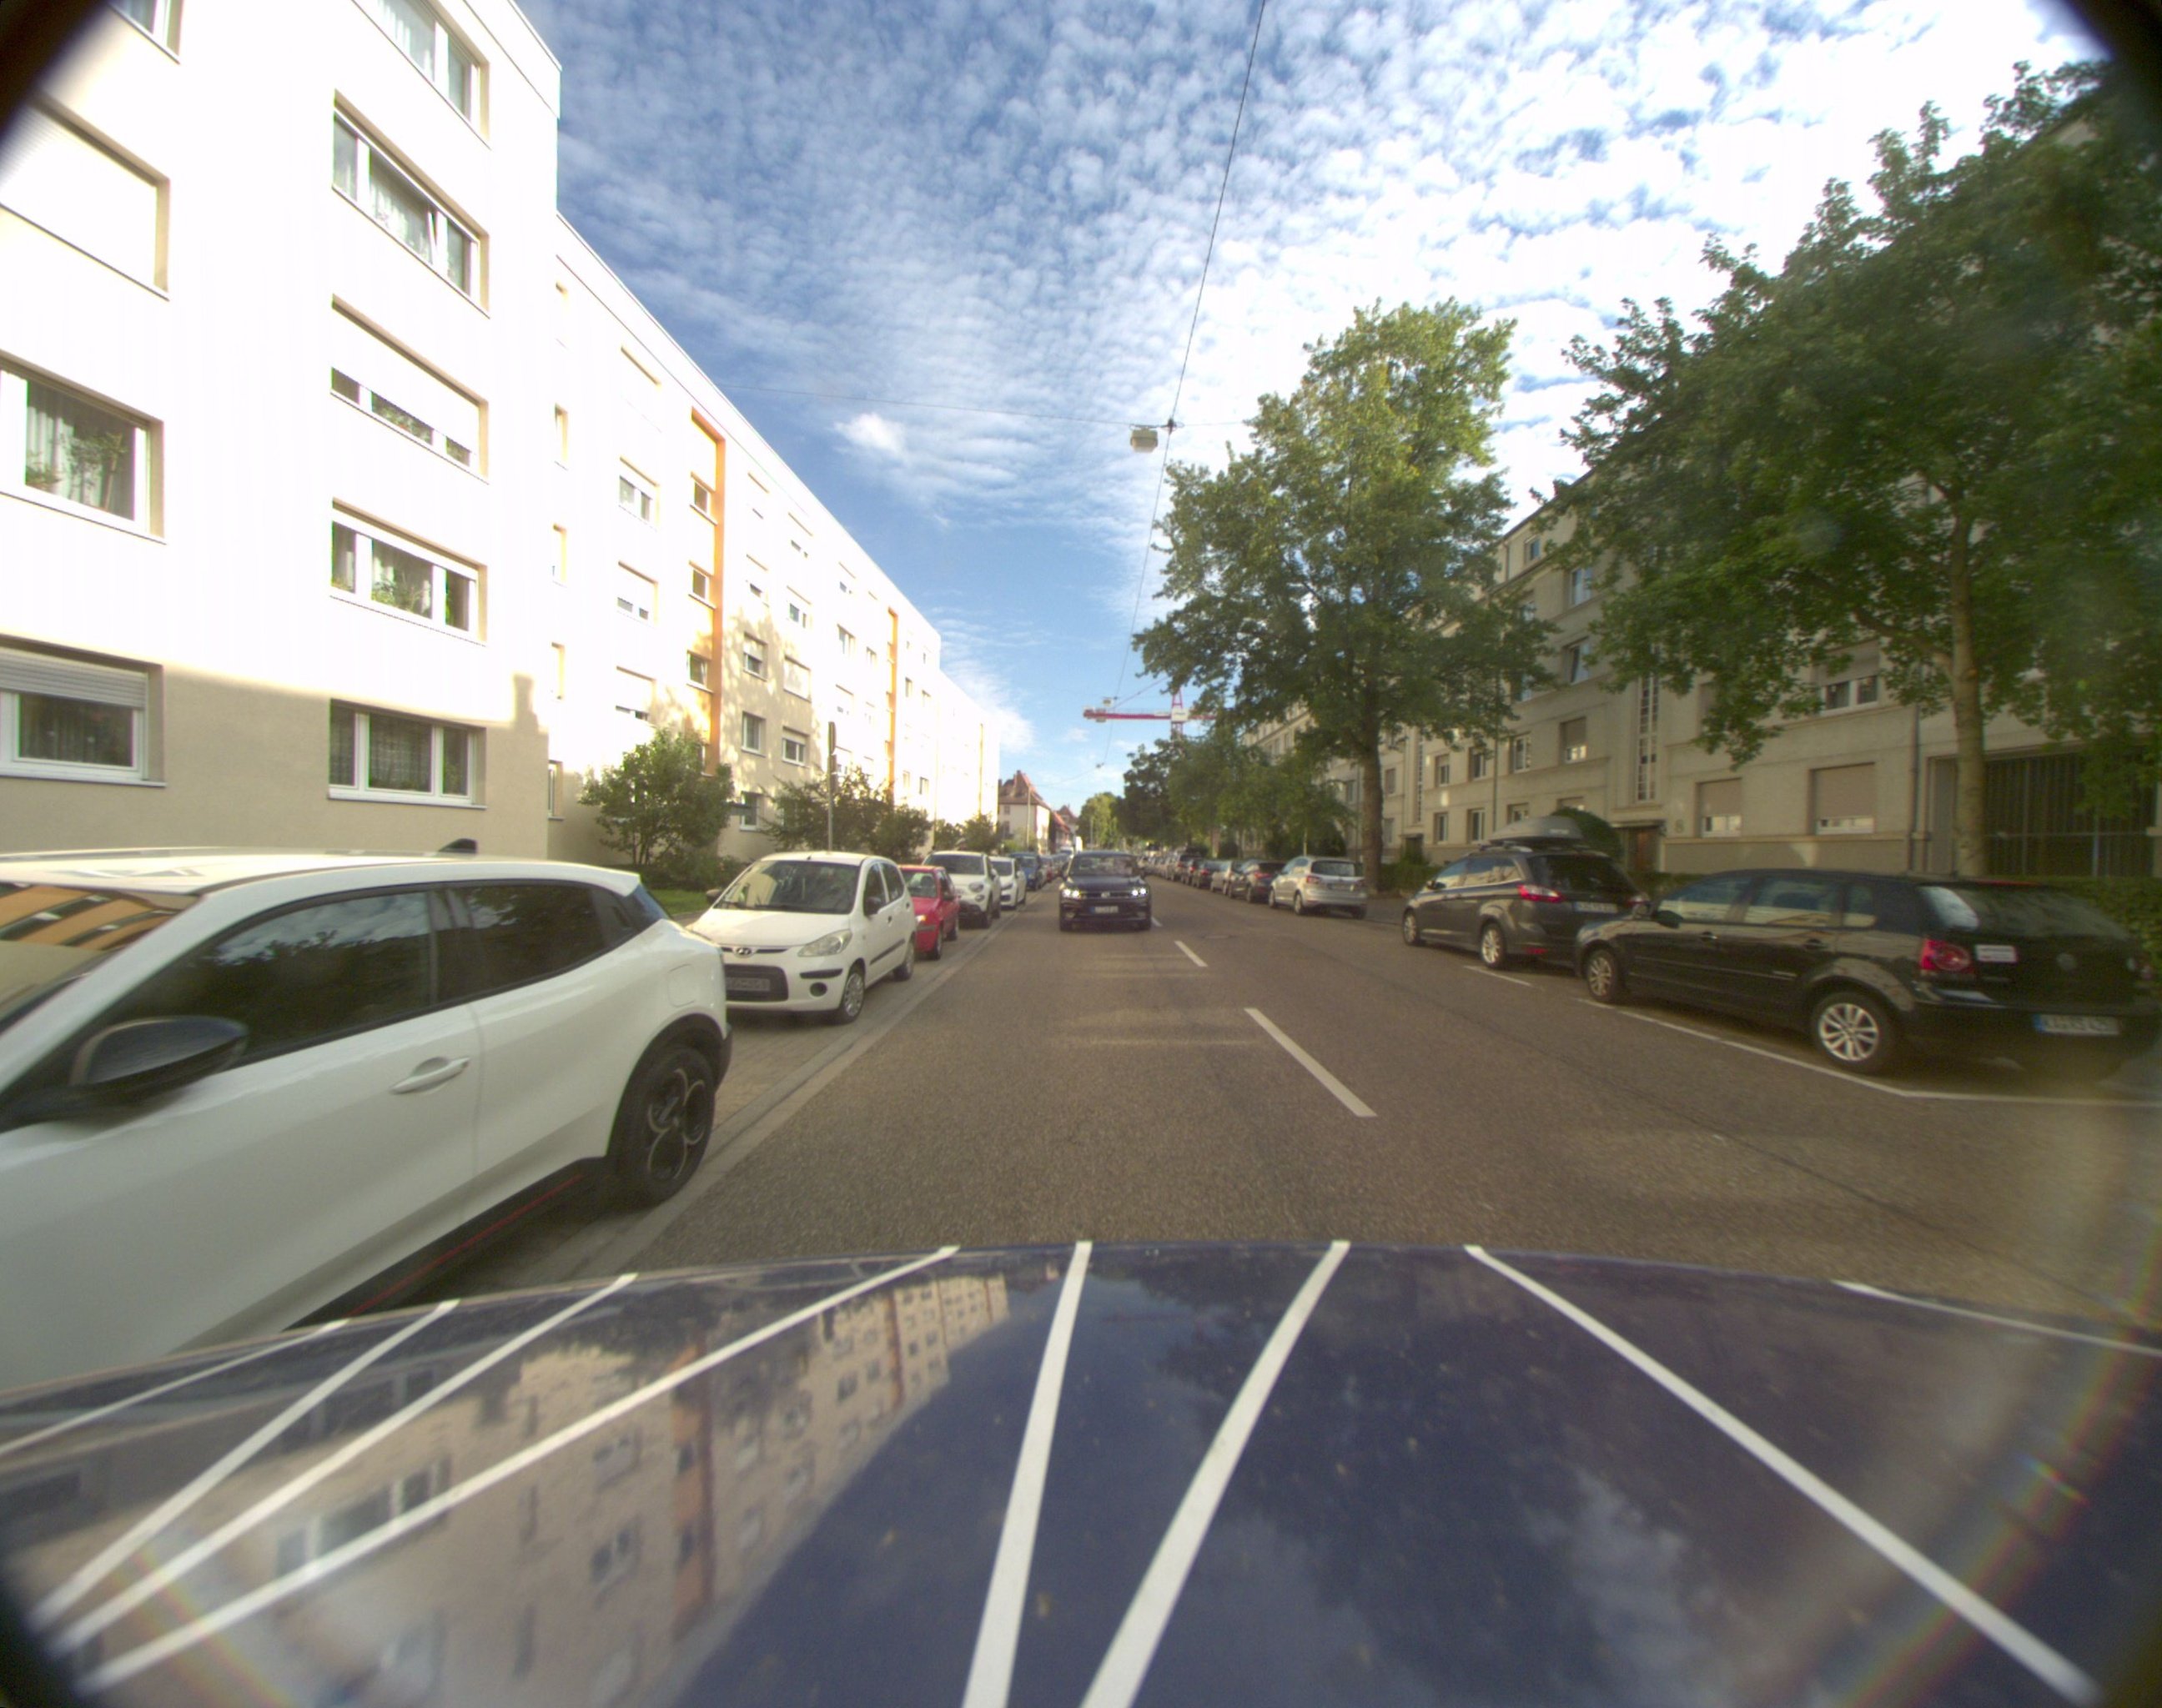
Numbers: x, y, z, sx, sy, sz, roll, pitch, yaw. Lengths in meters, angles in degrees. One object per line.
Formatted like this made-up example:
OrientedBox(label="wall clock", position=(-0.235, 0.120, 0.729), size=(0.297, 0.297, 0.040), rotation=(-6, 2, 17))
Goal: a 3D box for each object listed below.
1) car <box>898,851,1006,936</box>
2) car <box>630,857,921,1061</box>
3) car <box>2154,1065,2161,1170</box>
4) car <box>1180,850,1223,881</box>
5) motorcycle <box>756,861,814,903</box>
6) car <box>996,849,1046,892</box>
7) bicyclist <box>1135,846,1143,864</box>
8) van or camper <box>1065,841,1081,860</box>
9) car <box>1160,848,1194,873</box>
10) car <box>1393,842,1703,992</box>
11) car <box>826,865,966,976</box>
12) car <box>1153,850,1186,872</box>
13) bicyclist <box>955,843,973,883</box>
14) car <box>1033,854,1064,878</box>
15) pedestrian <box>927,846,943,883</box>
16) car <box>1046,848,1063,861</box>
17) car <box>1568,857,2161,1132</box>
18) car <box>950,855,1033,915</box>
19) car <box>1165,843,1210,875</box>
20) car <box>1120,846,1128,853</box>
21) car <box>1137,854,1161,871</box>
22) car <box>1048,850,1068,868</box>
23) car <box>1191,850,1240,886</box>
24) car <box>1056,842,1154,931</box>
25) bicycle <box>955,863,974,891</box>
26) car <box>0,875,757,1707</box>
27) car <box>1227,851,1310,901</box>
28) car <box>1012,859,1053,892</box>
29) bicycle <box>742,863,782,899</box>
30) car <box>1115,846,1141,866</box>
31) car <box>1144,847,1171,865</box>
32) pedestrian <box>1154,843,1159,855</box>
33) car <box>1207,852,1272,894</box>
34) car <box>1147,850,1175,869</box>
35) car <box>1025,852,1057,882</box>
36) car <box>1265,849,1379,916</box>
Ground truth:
OrientedBox(label="car", position=(-2.744, 0.773, 17.029), size=(1.733, 1.571, 4.116), rotation=(2, 1, -1))
OrientedBox(label="car", position=(-2.822, 0.856, 7.845), size=(1.555, 1.548, 3.468), rotation=(3, 0, 0))
OrientedBox(label="car", position=(6.152, 0.869, 2.270), size=(1.556, 1.511, 3.016), rotation=(3, 0, 2))
OrientedBox(label="car", position=(6.512, 0.569, 41.351), size=(1.689, 1.472, 4.119), rotation=(5, 1, 1))
OrientedBox(label="motorcycle", position=(-8.068, 0.730, 20.810), size=(0.632, 1.038, 2.393), rotation=(3, 0, 0))
OrientedBox(label="car", position=(-2.542, 0.668, 33.275), size=(1.733, 1.640, 4.116), rotation=(3, 1, 1))
OrientedBox(label="bicyclist", position=(5.251, 0.059, 68.359), size=(0.643, 1.591, 0.990), rotation=(0, 1, 1))
OrientedBox(label="van or camper", position=(-1.160, -0.531, 110.795), size=(2.165, 2.512, 5.913), rotation=(3, 1, 0))
OrientedBox(label="car", position=(6.595, 0.416, 52.569), size=(1.860, 1.564, 4.460), rotation=(3, 0, 1))
OrientedBox(label="car", position=(6.433, 0.734, 11.212), size=(1.803, 1.658, 4.482), rotation=(3, 0, 1))
OrientedBox(label="car", position=(-2.808, 0.941, 12.242), size=(1.519, 1.390, 3.674), rotation=(2, 1, -3))
OrientedBox(label="car", position=(6.635, 0.482, 57.635), size=(1.860, 1.477, 4.944), rotation=(4, 0, 0))
OrientedBox(label="bicyclist", position=(-5.025, 0.374, 32.678), size=(0.625, 1.668, 0.893), rotation=(1, 1, 0))
OrientedBox(label="car", position=(-2.059, 0.742, 48.828), size=(1.666, 1.408, 4.058), rotation=(3, 1, 1))
OrientedBox(label="pedestrian", position=(-6.807, 0.497, 35.510), size=(0.543, 1.711, 0.771), rotation=(0, 1, 6))
OrientedBox(label="car", position=(-3.174, 0.040, 93.005), size=(1.767, 1.515, 4.330), rotation=(0, 0, 2))
OrientedBox(label="car", position=(6.077, 0.824, 6.216), size=(1.704, 1.478, 3.848), rotation=(3, 0, 1))
OrientedBox(label="car", position=(-2.551, 0.838, 22.765), size=(1.732, 1.479, 4.641), rotation=(2, 1, 2))
OrientedBox(label="car", position=(6.466, 0.277, 46.633), size=(1.882, 1.782, 4.969), rotation=(3, 0, -1))
OrientedBox(label="car", position=(11.539, -1.191, 204.148), size=(1.834, 1.659, 4.084), rotation=(-2, 1, 1))
OrientedBox(label="car", position=(6.856, 0.834, 77.154), size=(1.860, 1.477, 4.798), rotation=(5, 0, 0))
OrientedBox(label="car", position=(-2.149, 0.452, 71.132), size=(1.688, 1.492, 3.873), rotation=(2, 1, -1))
OrientedBox(label="car", position=(6.353, 0.619, 36.213), size=(1.689, 1.472, 4.452), rotation=(5, 1, 3))
OrientedBox(label="car", position=(0.584, 0.610, 16.422), size=(1.859, 1.673, 4.001), rotation=(0, 0, 4))
OrientedBox(label="bicycle", position=(-5.021, 0.963, 32.814), size=(0.525, 1.128, 1.929), rotation=(1, 1, 0))
OrientedBox(label="car", position=(-2.718, 0.900, 2.027), size=(1.693, 1.519, 4.238), rotation=(1, 0, 3))
OrientedBox(label="car", position=(6.247, 0.675, 25.784), size=(1.618, 1.460, 4.012), rotation=(4, 0, -2))
OrientedBox(label="car", position=(-2.377, 1.035, 37.897), size=(1.733, 1.452, 4.116), rotation=(2, 1, 0))
OrientedBox(label="bicycle", position=(-8.980, 0.732, 21.446), size=(0.460, 0.936, 1.516), rotation=(2, 0, 0))
OrientedBox(label="car", position=(3.747, 0.176, 61.249), size=(1.863, 1.520, 4.010), rotation=(1, 0, 1))
OrientedBox(label="car", position=(7.020, 0.177, 69.985), size=(1.860, 1.477, 4.683), rotation=(2, 0, -1))
OrientedBox(label="pedestrian", position=(11.138, -0.672, 112.336), size=(0.743, 1.758, 0.775), rotation=(0, 1, -1))
OrientedBox(label="car", position=(6.268, 0.707, 30.456), size=(1.604, 1.410, 3.963), rotation=(4, 0, -1))
OrientedBox(label="car", position=(6.621, 0.454, 63.172), size=(1.742, 1.385, 4.665), rotation=(4, 0, 0))
OrientedBox(label="car", position=(-2.277, 0.708, 43.626), size=(1.733, 1.506, 4.189), rotation=(2, 1, -3))
OrientedBox(label="car", position=(6.460, 0.695, 20.844), size=(1.743, 1.611, 3.994), rotation=(2, 0, -1))
